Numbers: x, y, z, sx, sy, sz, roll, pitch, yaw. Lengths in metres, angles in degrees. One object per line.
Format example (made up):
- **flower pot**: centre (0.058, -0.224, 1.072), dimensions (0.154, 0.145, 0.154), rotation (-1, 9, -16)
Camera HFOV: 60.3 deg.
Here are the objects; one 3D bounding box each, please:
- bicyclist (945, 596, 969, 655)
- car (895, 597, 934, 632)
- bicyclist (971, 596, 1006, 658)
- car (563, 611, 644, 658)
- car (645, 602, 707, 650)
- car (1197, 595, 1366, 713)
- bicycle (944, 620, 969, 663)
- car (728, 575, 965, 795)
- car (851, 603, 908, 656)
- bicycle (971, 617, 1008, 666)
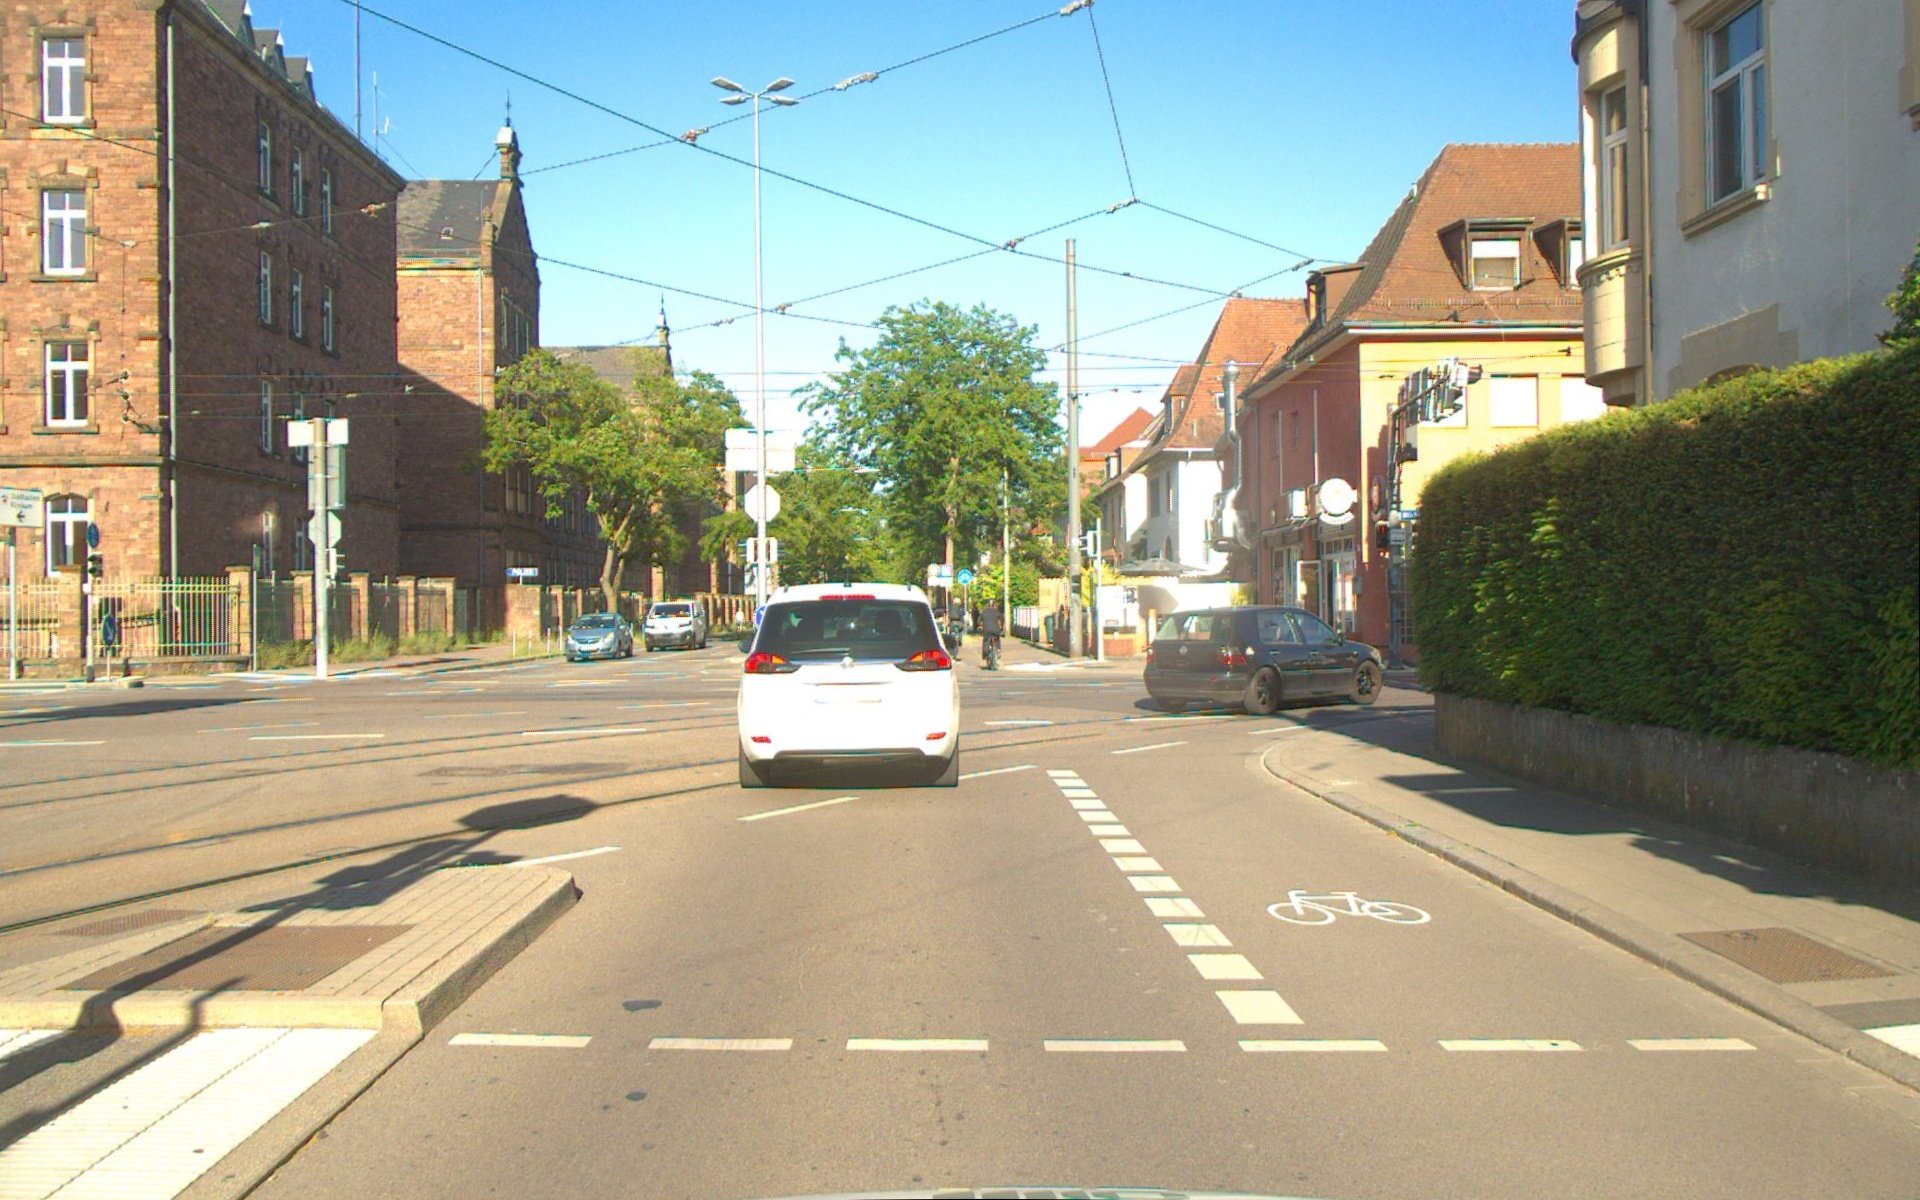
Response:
- **bicyclist**: centre (-0.087, 0.718, 46.966), dimensions (0.671, 1.663, 1.015), rotation (0, -1, 1)
- **car**: centre (-2.196, 0.719, 80.653), dimensions (1.739, 1.660, 3.881), rotation (0, -1, 1)
- **bicyclist**: centre (0.702, 0.664, 40.908), dimensions (0.804, 1.528, 0.934), rotation (0, -1, -2)
- **car**: centre (-11.409, 1.100, 53.146), dimensions (1.547, 1.466, 3.586), rotation (0, -1, 5)
- **car**: centre (-11.021, 1.008, 64.349), dimensions (1.854, 1.815, 3.879), rotation (0, -1, -2)
- **car**: centre (4.289, 0.672, 22.580), dimensions (1.554, 1.445, 3.900), rotation (-1, 0, 1)
- **bicycle**: centre (-0.085, 1.166, 46.876), dimensions (0.671, 1.177, 1.619), rotation (1, -1, 1)
- **car**: centre (-0.886, 0.665, 14.542), dimensions (1.797, 1.671, 3.918), rotation (0, -1, -1)
- **car**: centre (-2.585, 0.952, 53.913), dimensions (1.740, 1.660, 3.879), rotation (0, -1, -1)
- **bicycle**: centre (0.704, 1.019, 40.786), dimensions (0.812, 1.175, 2.094), rotation (0, -1, -2)
